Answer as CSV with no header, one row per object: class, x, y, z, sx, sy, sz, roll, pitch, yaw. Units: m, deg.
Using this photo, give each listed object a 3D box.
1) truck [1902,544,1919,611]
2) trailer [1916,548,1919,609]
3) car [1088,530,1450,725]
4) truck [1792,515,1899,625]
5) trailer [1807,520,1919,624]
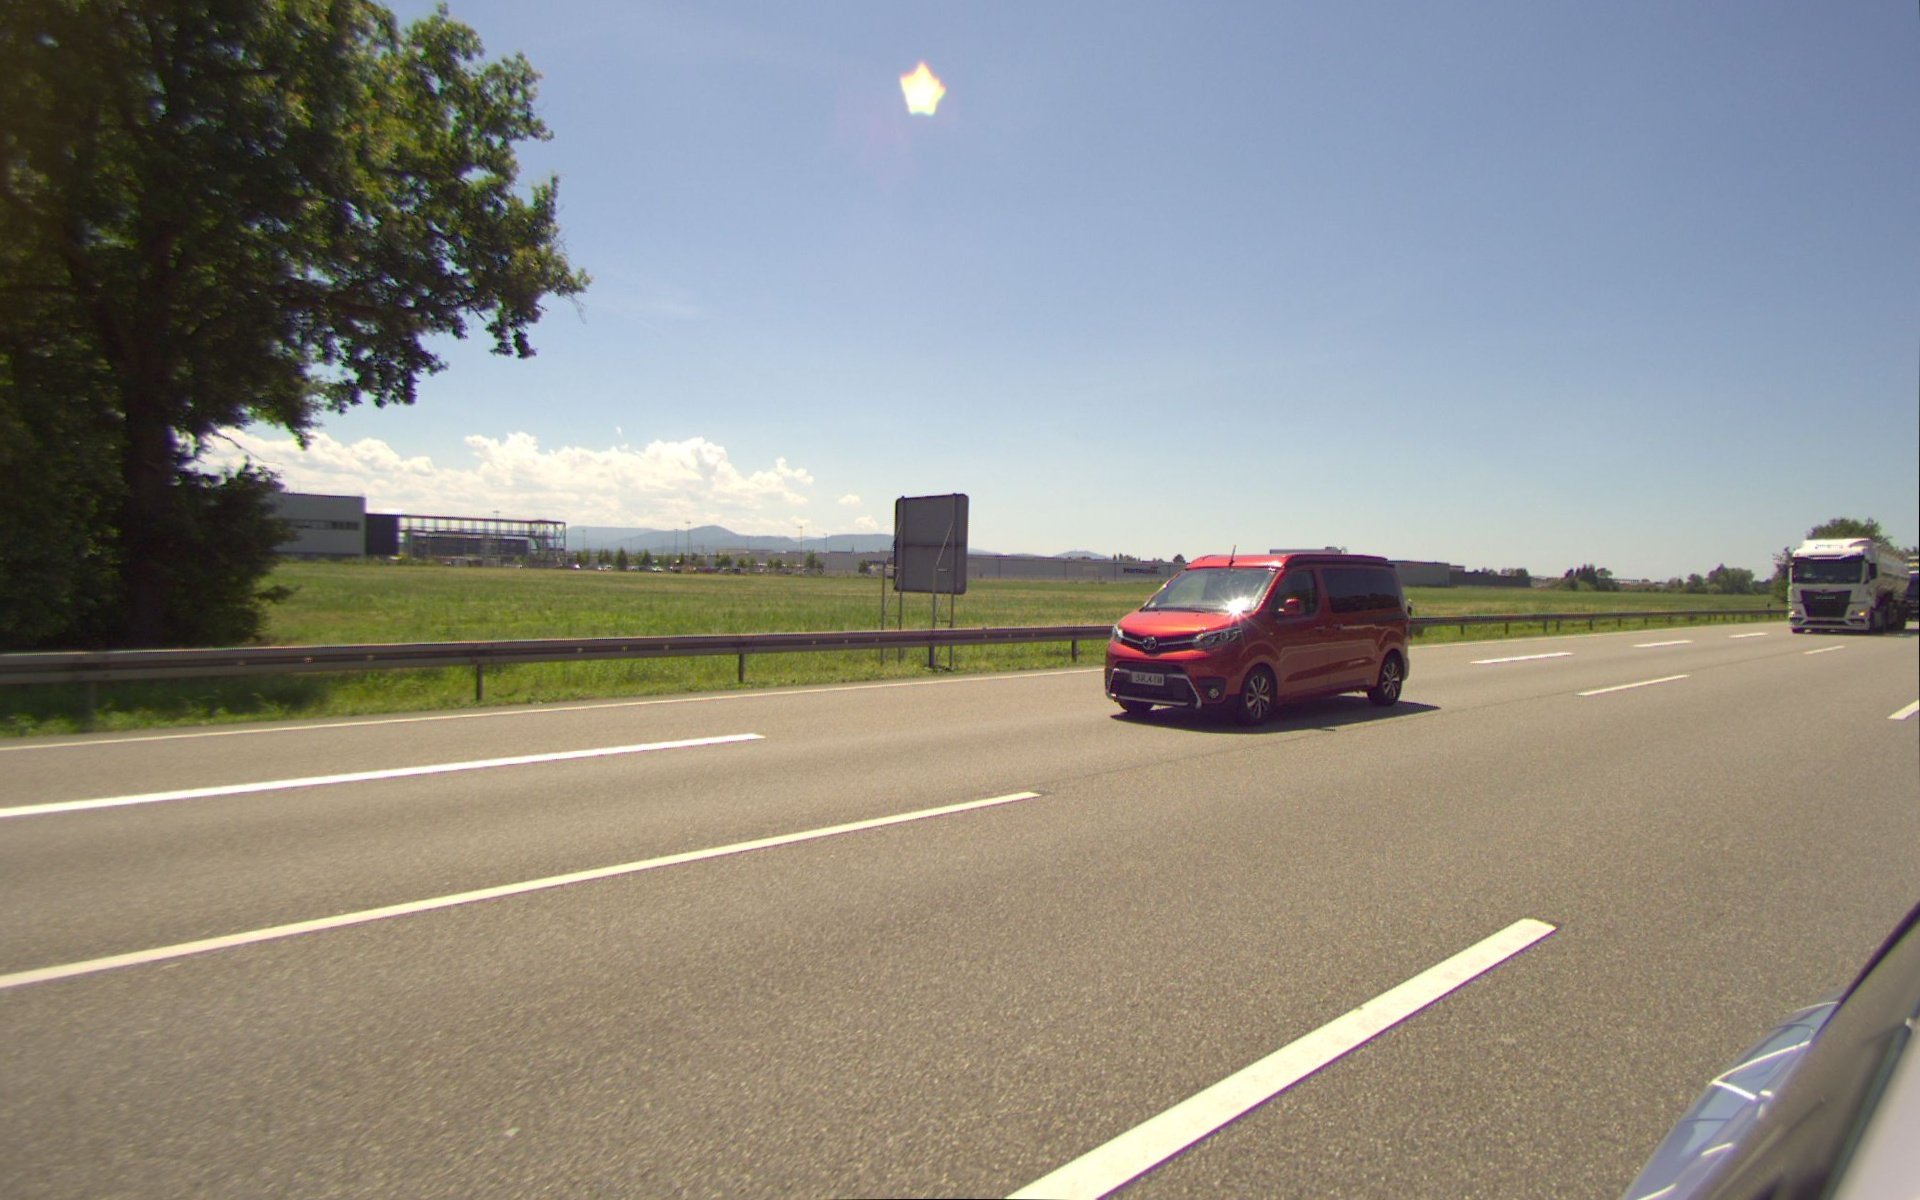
truck,65.023,-1.447,67.163,10.622,4.257,2.794,0,1,-43
trailer,71.716,-1.469,73.297,10.622,4.257,2.794,0,1,-42
car,4.156,0.263,12.997,5.425,2.028,1.859,0,0,-41
truck,36.503,-1.201,41.681,4.915,4.257,2.794,0,1,-43
trailer,42.076,-1.200,46.770,12.141,4.257,2.794,0,1,-42
